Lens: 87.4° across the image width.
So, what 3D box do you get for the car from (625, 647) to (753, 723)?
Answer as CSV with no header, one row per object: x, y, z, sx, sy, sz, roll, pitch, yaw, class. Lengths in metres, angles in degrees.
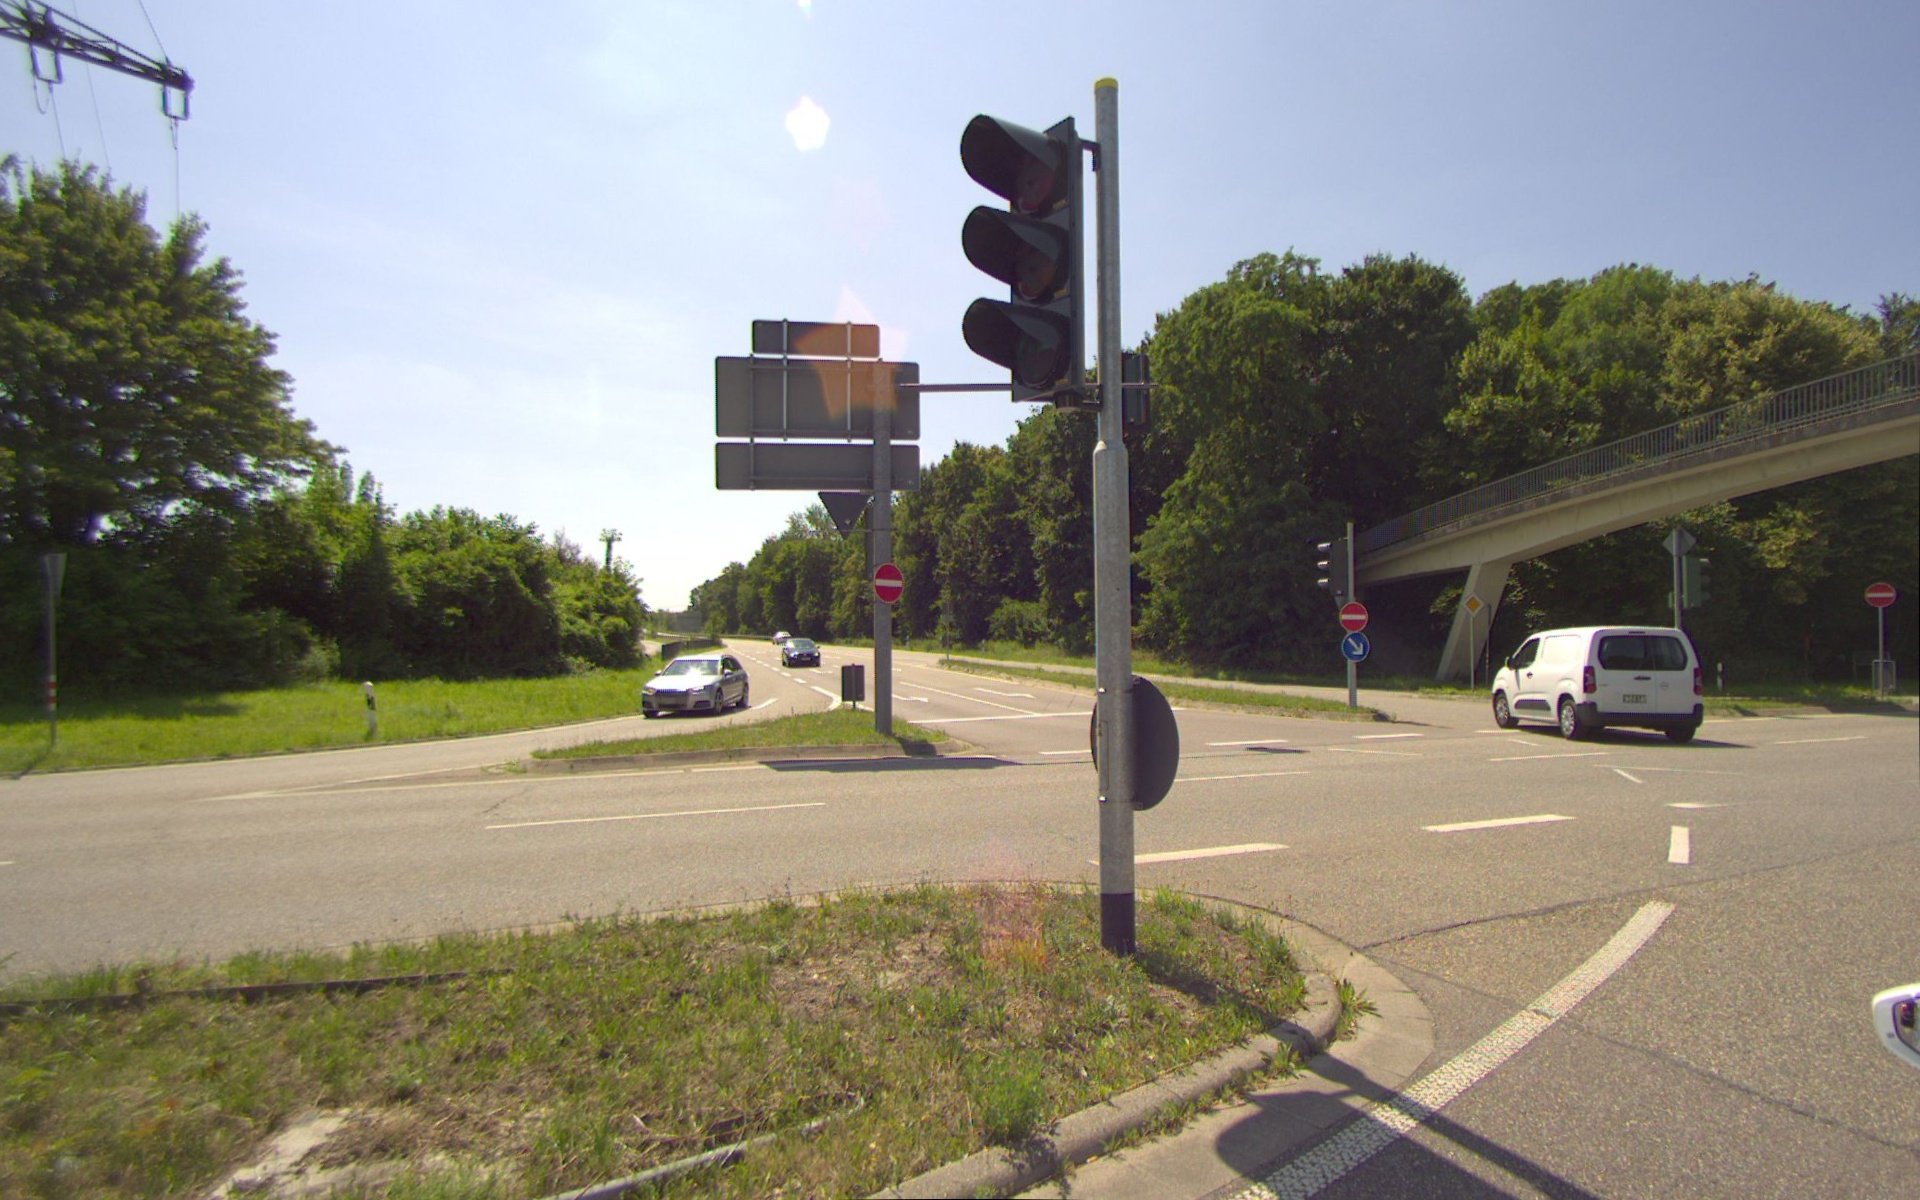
-6.755,2.077,25.597,2.008,1.596,4.666,-2,-2,-1,car

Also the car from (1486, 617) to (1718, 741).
10.688,1.347,17.120,1.817,1.849,3.986,-1,-5,9,car

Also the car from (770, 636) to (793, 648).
-21.023,4.993,118.220,1.968,1.391,4.764,1,-2,-18,car

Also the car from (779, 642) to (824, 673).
-8.562,3.061,54.070,1.713,1.552,4.152,-2,-2,-18,car
